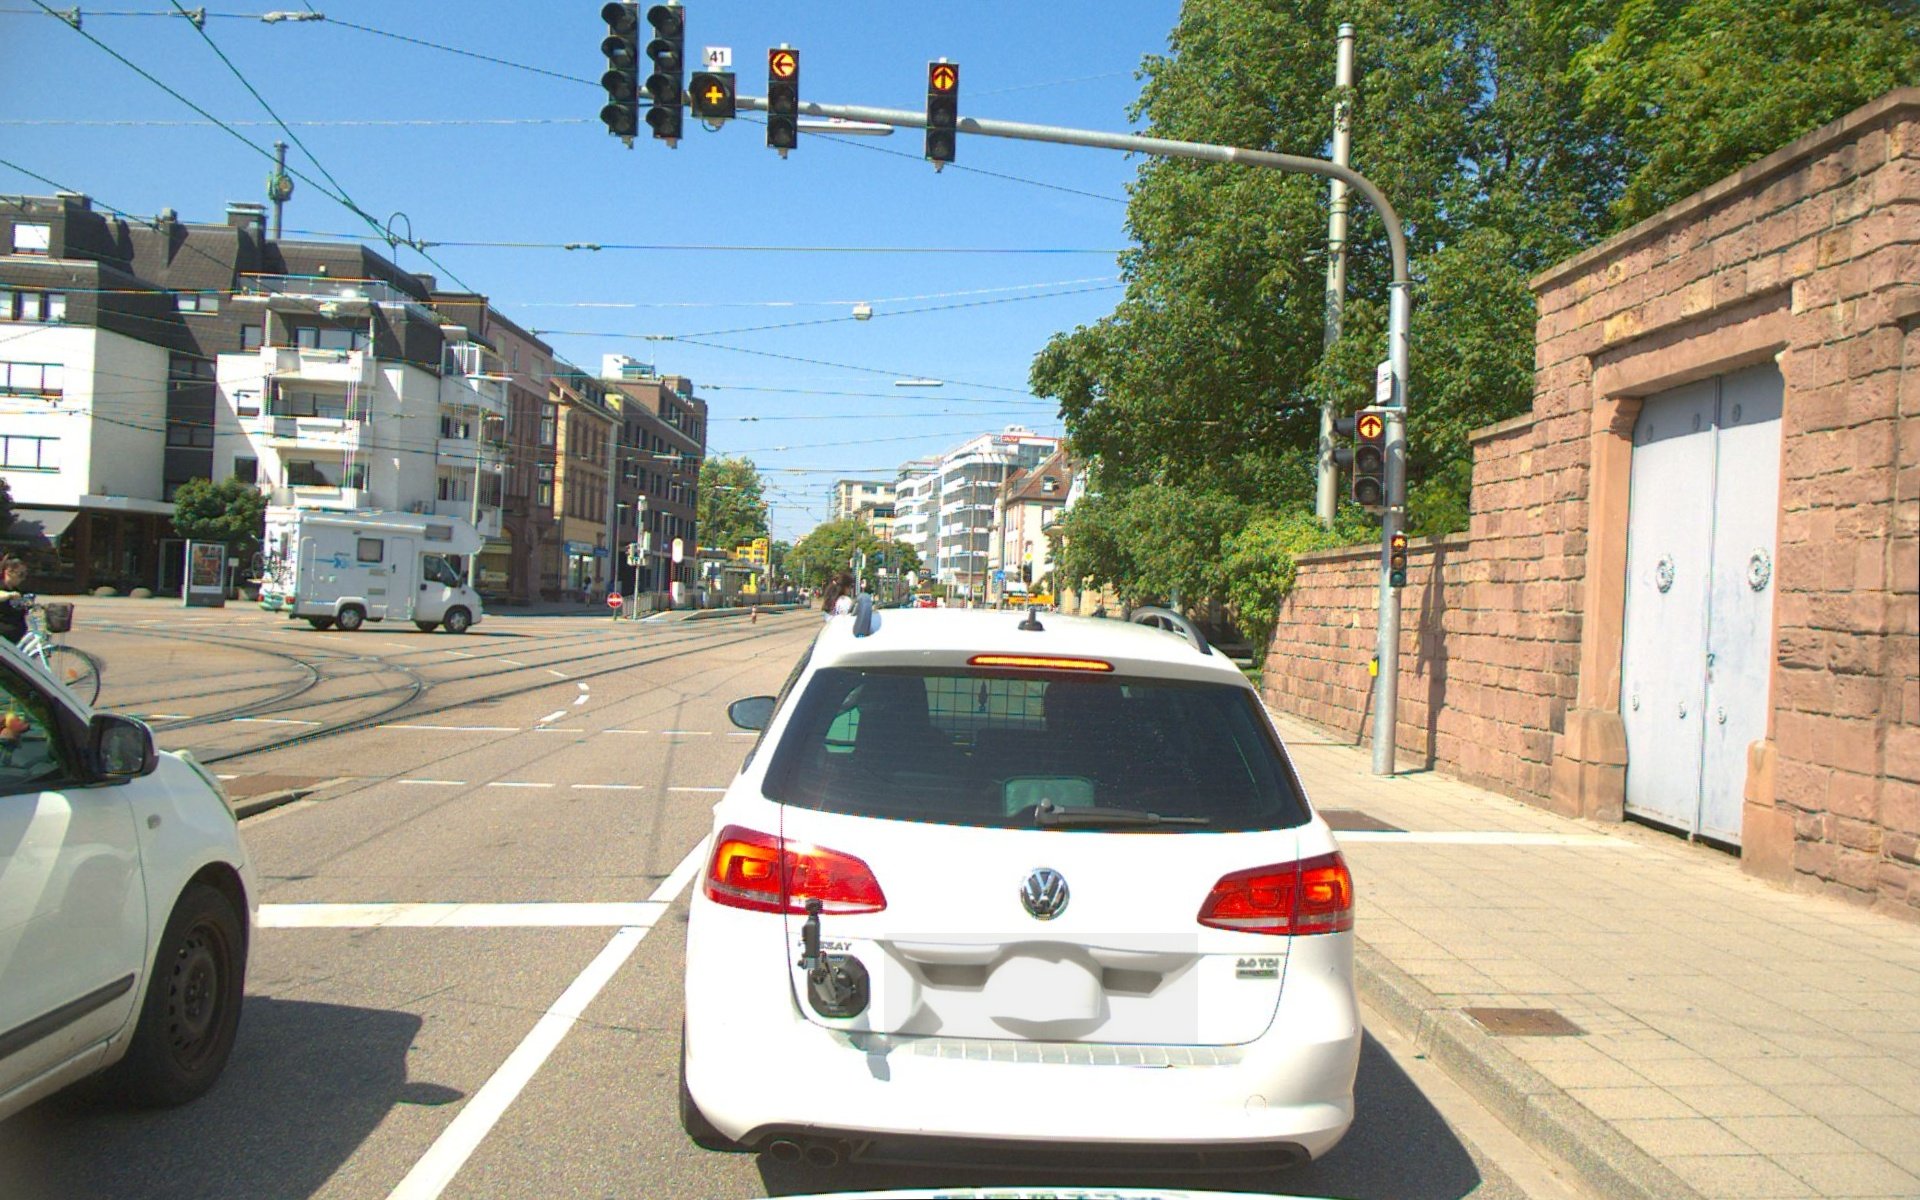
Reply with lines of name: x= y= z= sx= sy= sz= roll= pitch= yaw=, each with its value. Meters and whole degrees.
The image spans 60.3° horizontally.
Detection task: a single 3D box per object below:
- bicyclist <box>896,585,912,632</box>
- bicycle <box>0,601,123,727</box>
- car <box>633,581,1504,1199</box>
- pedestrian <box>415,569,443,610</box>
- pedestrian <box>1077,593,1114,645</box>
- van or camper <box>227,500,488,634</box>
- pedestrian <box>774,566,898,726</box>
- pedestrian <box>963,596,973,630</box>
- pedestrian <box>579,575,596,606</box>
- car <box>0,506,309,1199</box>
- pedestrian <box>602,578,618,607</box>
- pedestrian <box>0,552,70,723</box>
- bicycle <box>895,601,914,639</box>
bicyclist: x=-1.969 y=0.297 z=58.224 sx=0.550 sy=1.641 sz=0.637 roll=1 pitch=-1 yaw=-5
bicycle: x=-8.903 y=0.573 z=15.231 sx=1.986 sy=1.109 sz=0.707 roll=2 pitch=0 yaw=-16
car: x=0.192 y=0.717 z=5.428 sx=1.771 sy=1.473 sz=3.999 roll=2 pitch=0 yaw=-1
pedestrian: x=-22.999 y=-0.447 z=71.627 sx=0.963 sy=1.773 sz=0.855 roll=1 pitch=-1 yaw=-33
pedestrian: x=4.736 y=0.660 z=57.729 sx=0.856 sy=1.773 sz=0.961 roll=1 pitch=-1 yaw=-40
van or camper: x=-15.131 y=-0.726 z=41.736 sx=5.654 sy=3.147 sz=2.536 roll=1 pitch=-1 yaw=-42
pedestrian: x=-1.356 y=0.489 z=18.058 sx=0.939 sy=1.680 sz=0.968 roll=-1 pitch=-1 yaw=43
pedestrian: x=0.588 y=0.935 z=116.995 sx=0.675 sy=2.366 sz=1.232 roll=0 pitch=-1 yaw=0
pedestrian: x=-21.501 y=-0.546 z=95.561 sx=0.845 sy=1.773 sz=0.973 roll=1 pitch=-1 yaw=-6
car: x=-2.838 y=0.592 z=3.315 sx=1.608 sy=1.593 sz=3.803 roll=1 pitch=1 yaw=-1
pedestrian: x=-21.478 y=-0.459 z=101.589 sx=0.845 sy=1.773 sz=0.973 roll=1 pitch=-1 yaw=-6
pedestrian: x=-8.984 y=0.343 z=15.764 sx=0.733 sy=1.599 sz=0.672 roll=1 pitch=1 yaw=-16
bicycle: x=-1.973 y=0.709 z=58.220 sx=0.547 sy=1.320 sz=2.247 roll=1 pitch=-1 yaw=-5
